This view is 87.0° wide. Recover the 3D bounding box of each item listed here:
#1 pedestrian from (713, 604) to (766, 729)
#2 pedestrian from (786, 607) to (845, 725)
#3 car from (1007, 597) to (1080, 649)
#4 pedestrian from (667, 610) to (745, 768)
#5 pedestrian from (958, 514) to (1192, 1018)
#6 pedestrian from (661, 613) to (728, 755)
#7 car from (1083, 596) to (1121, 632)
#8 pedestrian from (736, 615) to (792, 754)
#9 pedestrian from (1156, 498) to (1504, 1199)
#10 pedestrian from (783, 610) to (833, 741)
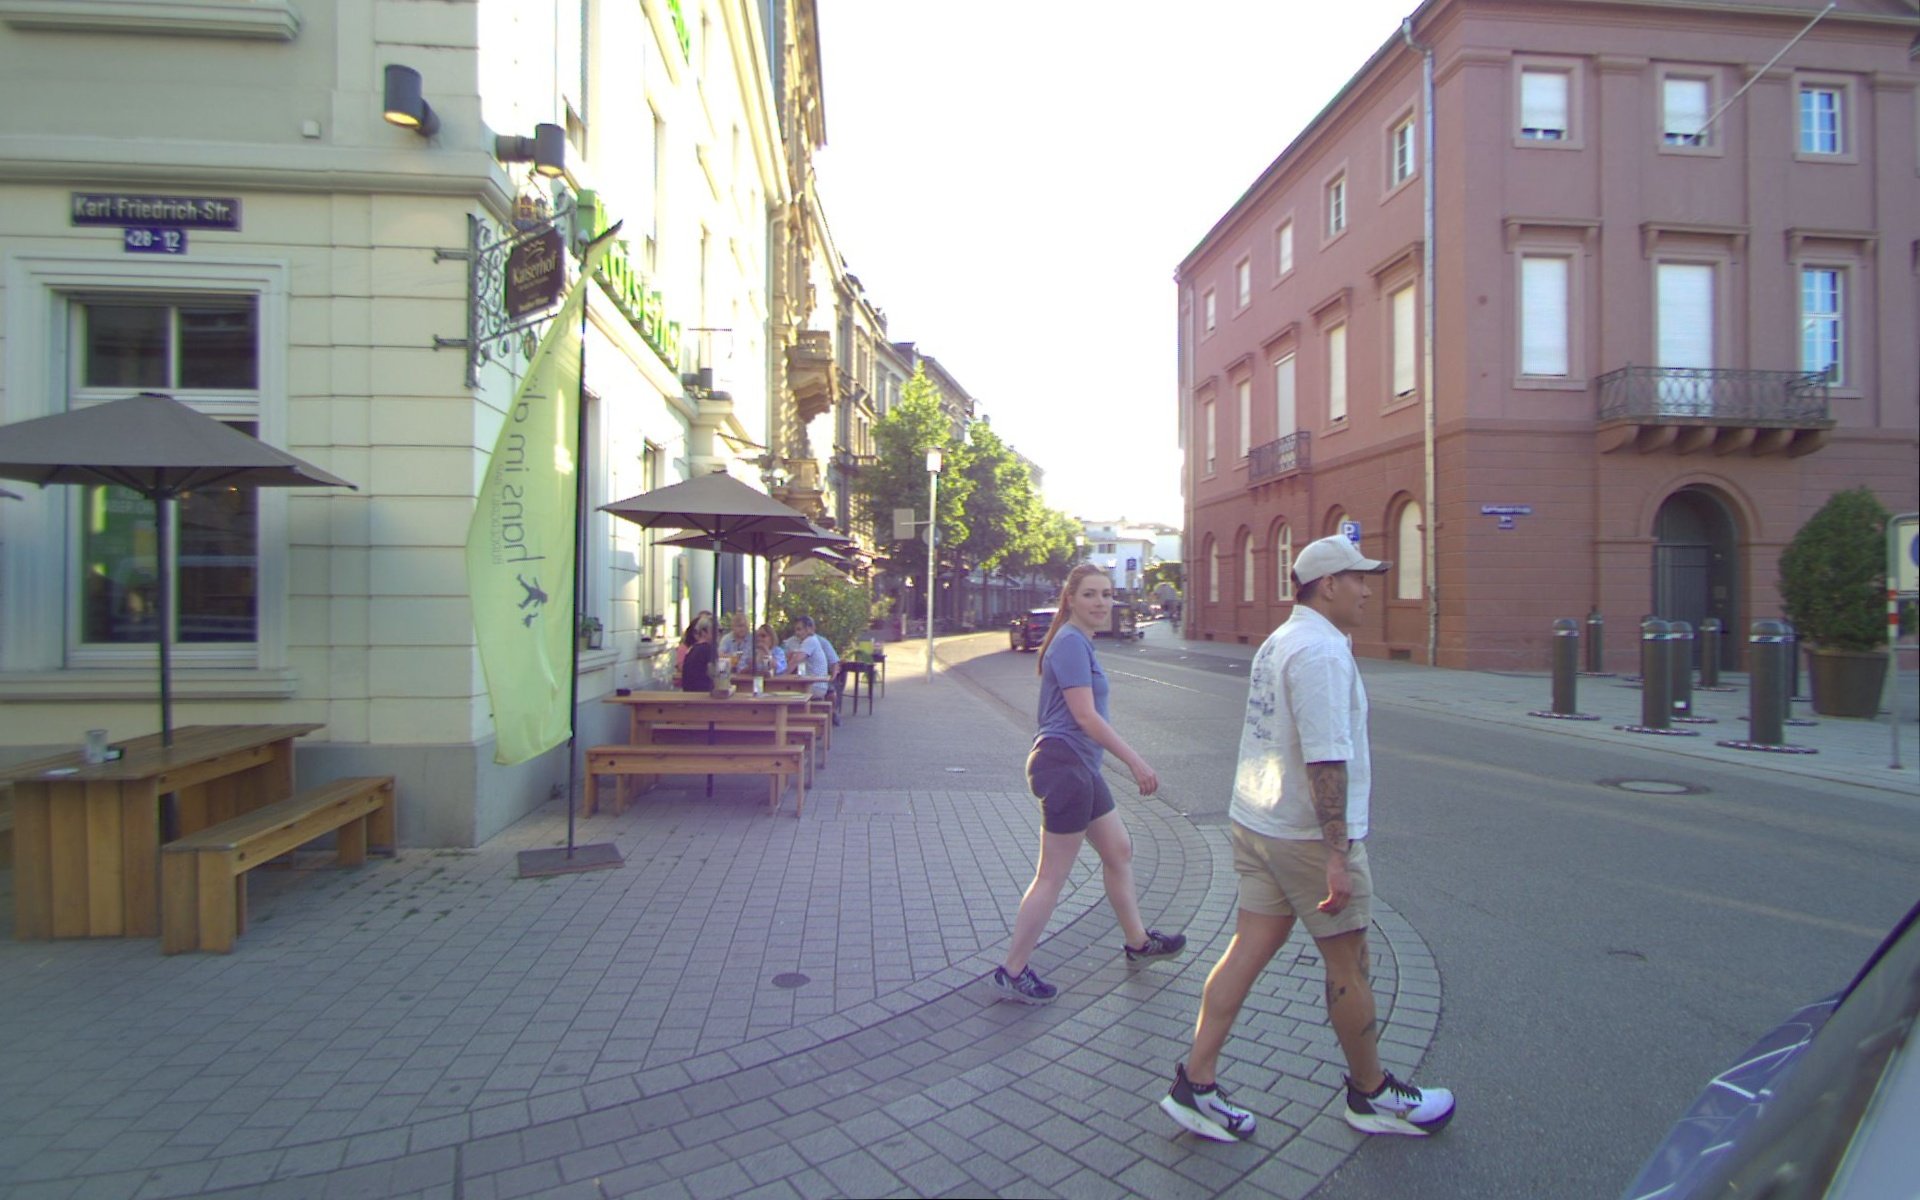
[{"bbox_3d":[-2.656,0.788,12.212,0.608,1.468,0.500,0,-1,-12],"label":"pedestrian"},{"bbox_3d":[-1.779,0.798,12.484,0.669,1.421,0.544,0,-1,-2],"label":"pedestrian"},{"bbox_3d":[2.828,0.755,35.016,1.811,1.616,4.003,-3,0,-4],"label":"car"},{"bbox_3d":[-2.315,0.788,9.275,0.578,1.394,0.614,0,0,-1],"label":"pedestrian"},{"bbox_3d":[0.454,0.575,3.987,0.714,1.752,0.601,0,-1,39],"label":"pedestrian"},{"bbox_3d":[-2.678,0.828,10.231,0.567,1.386,0.528,0,-1,-4],"label":"pedestrian"},{"bbox_3d":[6.334,0.609,45.065,1.546,1.541,3.048,0,0,11],"label":"car"},{"bbox_3d":[-1.976,0.836,10.242,0.514,1.354,0.504,0,-1,-6],"label":"pedestrian"},{"bbox_3d":[1.051,0.634,2.871,0.762,1.752,0.659,0,-1,39],"label":"pedestrian"},{"bbox_3d":[-1.692,0.813,11.244,0.542,1.404,0.578,0,0,-9],"label":"pedestrian"}]
